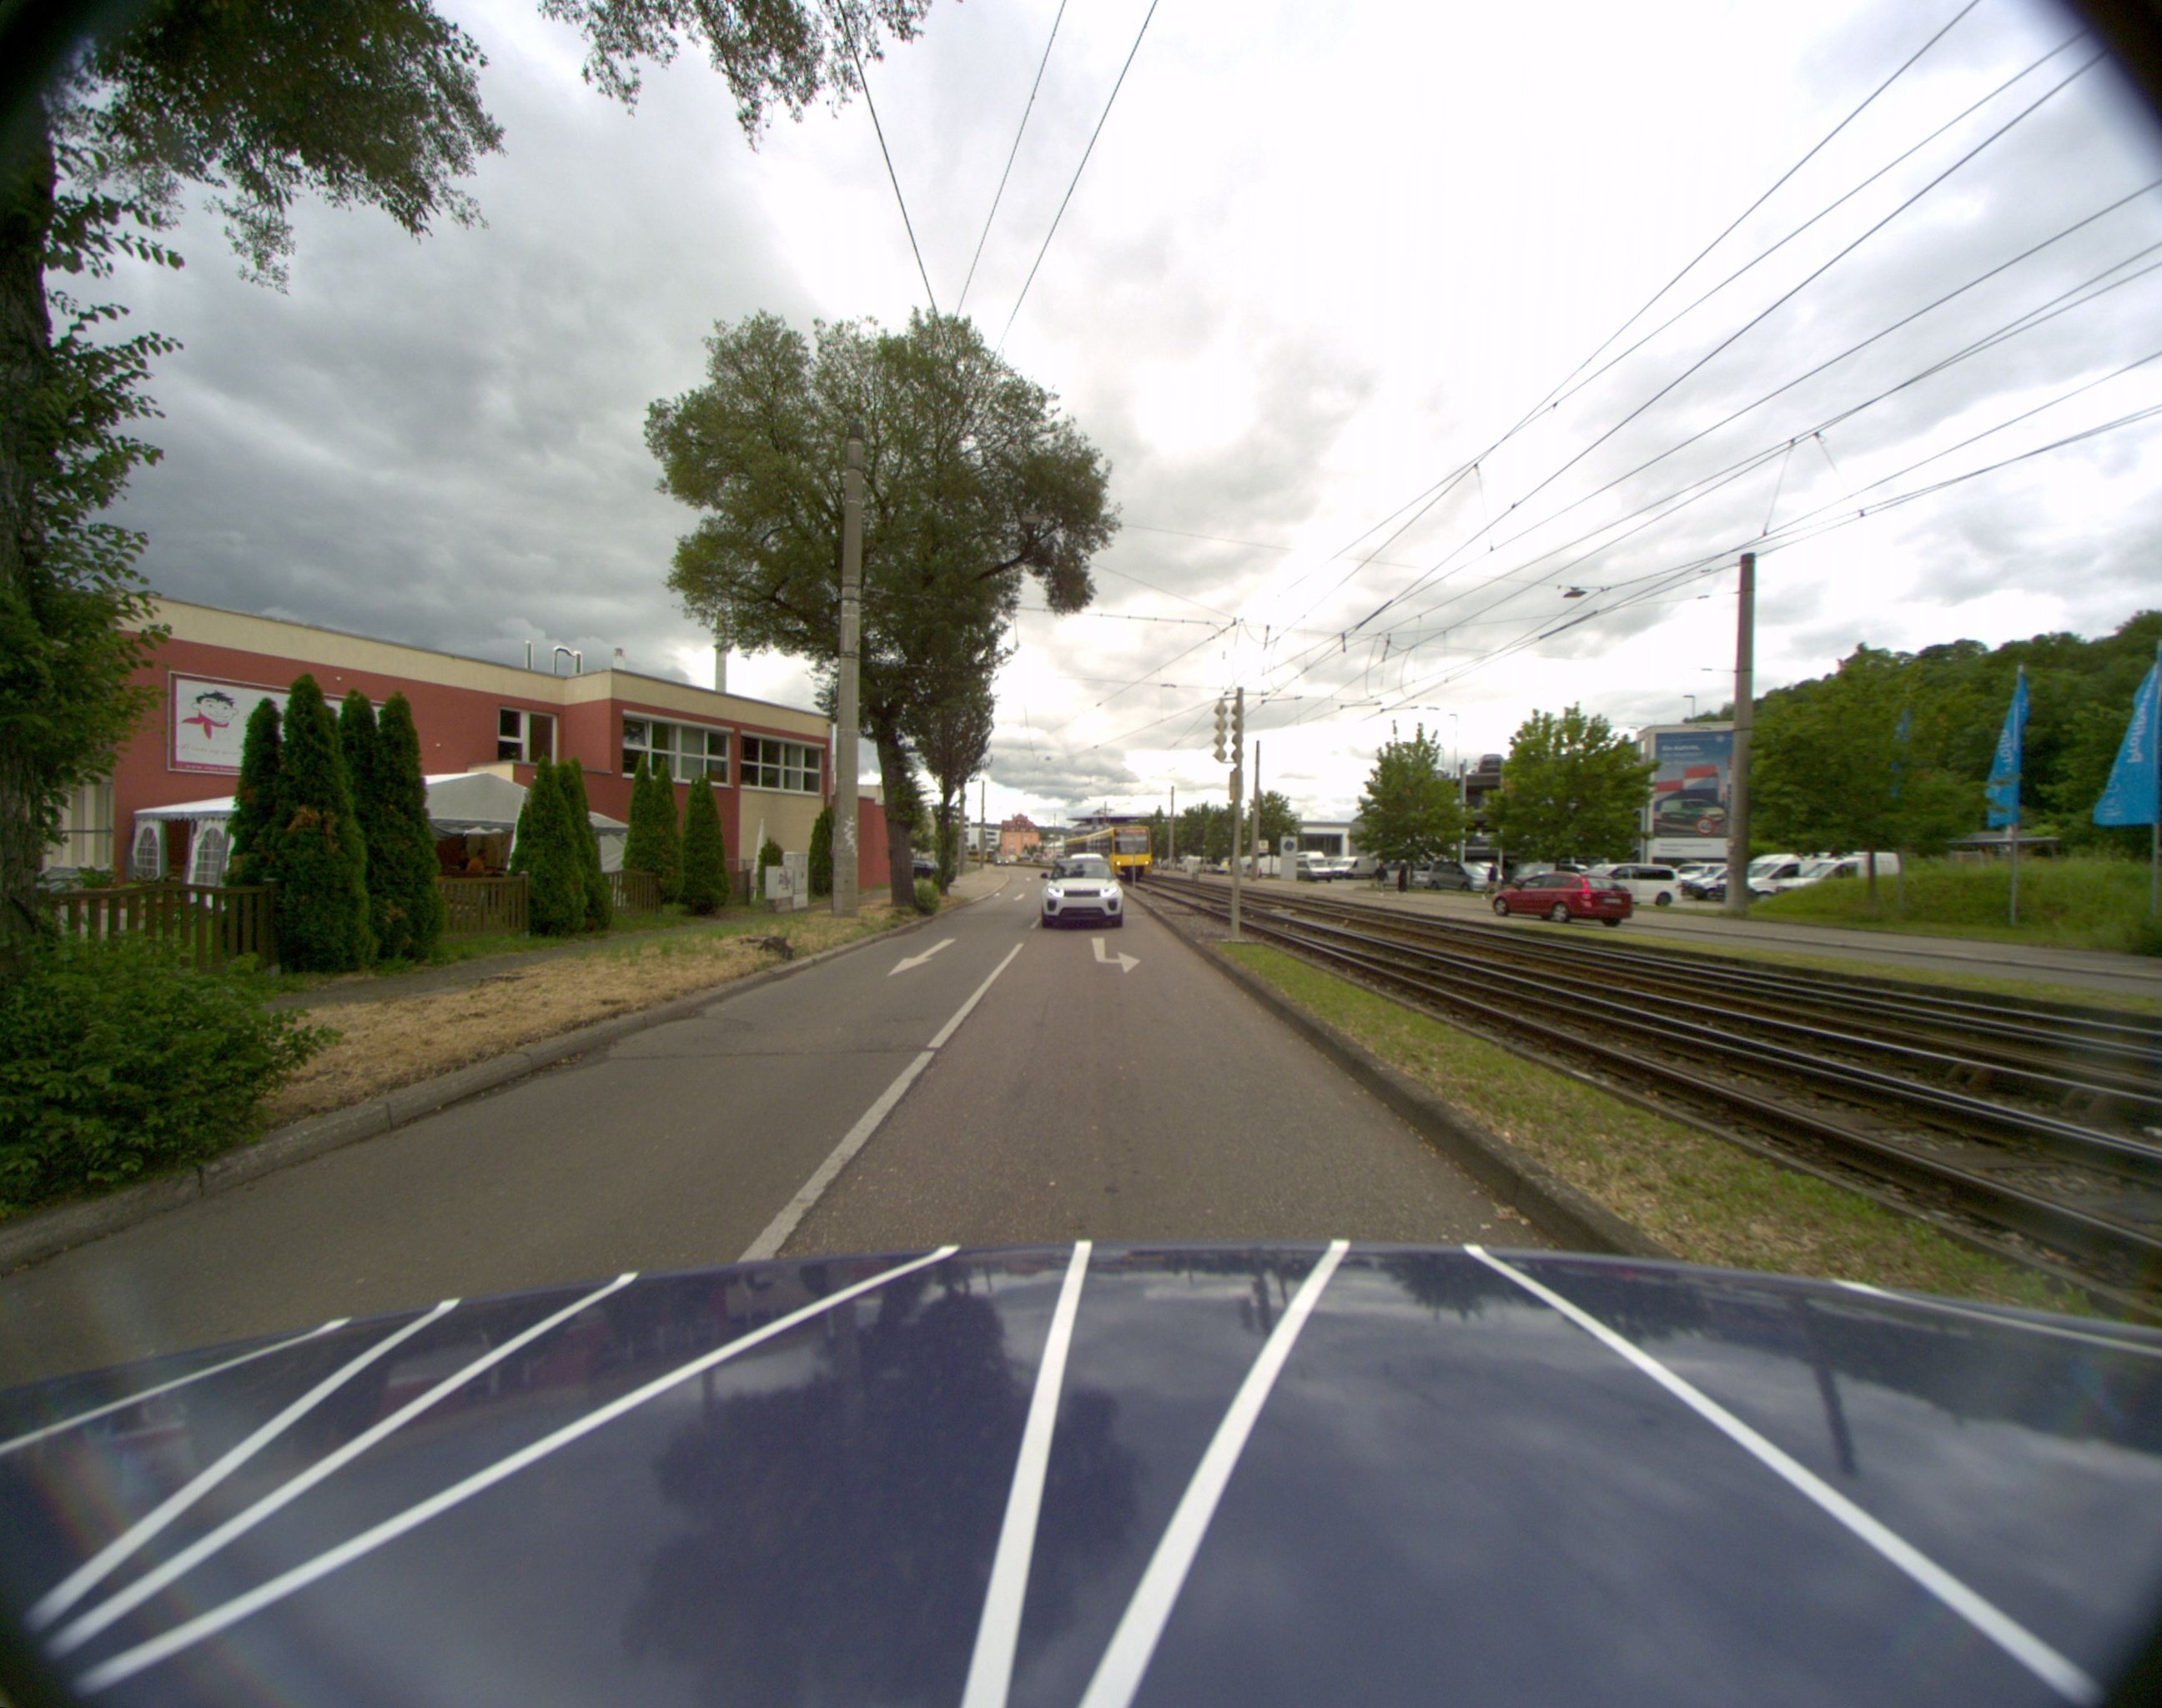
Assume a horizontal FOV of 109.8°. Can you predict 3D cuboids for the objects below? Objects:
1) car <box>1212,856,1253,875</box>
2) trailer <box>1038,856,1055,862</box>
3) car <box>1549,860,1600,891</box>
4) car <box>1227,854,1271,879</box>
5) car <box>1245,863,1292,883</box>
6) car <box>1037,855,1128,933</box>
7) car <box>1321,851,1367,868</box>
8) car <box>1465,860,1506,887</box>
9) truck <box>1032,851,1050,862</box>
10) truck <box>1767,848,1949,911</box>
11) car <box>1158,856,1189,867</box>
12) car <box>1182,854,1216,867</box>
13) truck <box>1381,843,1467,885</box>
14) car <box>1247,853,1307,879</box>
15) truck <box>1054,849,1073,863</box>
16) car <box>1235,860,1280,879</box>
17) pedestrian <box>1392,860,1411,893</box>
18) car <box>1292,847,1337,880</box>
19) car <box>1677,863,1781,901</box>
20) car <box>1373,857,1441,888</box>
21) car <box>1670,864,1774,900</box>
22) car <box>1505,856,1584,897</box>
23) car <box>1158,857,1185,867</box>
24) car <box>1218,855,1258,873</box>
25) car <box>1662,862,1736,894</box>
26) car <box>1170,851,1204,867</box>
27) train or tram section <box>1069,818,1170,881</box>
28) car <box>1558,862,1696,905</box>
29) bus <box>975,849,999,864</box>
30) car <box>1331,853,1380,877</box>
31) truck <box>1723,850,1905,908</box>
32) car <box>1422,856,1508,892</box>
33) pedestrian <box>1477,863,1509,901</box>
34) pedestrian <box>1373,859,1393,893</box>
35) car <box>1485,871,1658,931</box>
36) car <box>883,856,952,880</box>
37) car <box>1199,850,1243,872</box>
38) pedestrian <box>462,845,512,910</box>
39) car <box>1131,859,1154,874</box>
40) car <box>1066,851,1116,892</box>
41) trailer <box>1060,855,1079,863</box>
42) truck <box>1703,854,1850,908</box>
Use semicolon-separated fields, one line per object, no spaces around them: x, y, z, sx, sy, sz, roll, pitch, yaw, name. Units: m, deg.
18.097;1.351;90.745;4.380;2.160;2.002;1;0;-10;car
-8.726;1.321;193.016;3.061;1.270;6.998;3;-1;-13;trailer
33.638;1.433;51.874;1.995;2.001;4.475;1;0;21;car
18.901;1.388;85.556;4.380;2.802;2.002;1;0;-10;car
19.891;2.035;80.823;4.380;2.093;2.002;1;0;-10;car
-0.038;0.887;18.849;1.999;1.718;3.999;0;0;-2;car
31.938;0.670;92.490;4.857;2.002;1.999;1;0;-4;car
28.731;1.341;54.082;1.995;1.820;4.475;1;0;21;car
-10.627;0.641;200.762;3.119;2.904;8.950;3;-1;-14;truck
34.208;1.058;33.693;5.059;2.573;2.473;1;0;25;truck
14.583;1.202;119.847;4.380;1.608;2.003;1;0;-8;car
16.702;0.943;107.870;4.378;1.834;2.003;1;0;-5;car
26.471;0.727;58.824;5.923;3.067;2.123;1;0;24;truck
20.159;1.232;78.152;5.489;2.587;2.245;1;0;-6;car
-4.021;0.401;173.726;2.874;2.963;8.445;3;-1;-12;truck
19.370;1.695;83.312;4.380;2.093;2.002;1;0;-10;car
17.075;1.187;40.504;0.630;1.703;0.855;-1;0;-3;pedestrian
22.329;0.921;73.009;2.114;3.001;5.934;1;0;-4;car
36.374;1.539;42.756;3.993;2.002;2.002;0;0;11;car
22.175;1.197;51.893;2.000;2.002;4.915;1;0;-8;car
38.016;1.643;45.172;4.259;2.002;1.983;1;0;11;car
24.531;1.150;40.121;5.084;2.002;2.160;1;0;-42;car
14.627;1.239;122.452;3.998;1.608;1.999;1;0;-4;car
19.276;1.232;93.534;4.380;2.160;2.002;1;0;-10;car
39.561;1.500;48.647;4.284;2.001;1.996;0;-1;-25;car
15.366;0.688;109.994;4.510;2.298;2.124;1;0;-5;car
2.338;-0.360;56.477;3.400;3.984;16.925;-1;1;-11;train or tram section
25.538;1.364;35.625;5.071;1.877;2.165;1;0;-6;car
-27.070;0.596;219.095;3.566;3.930;10.468;-1;2;-27;bus
30.405;1.226;83.993;5.965;2.587;1.999;1;0;-35;car
35.135;1.146;36.667;5.765;2.573;2.472;1;0;19;truck
22.857;1.151;45.502;2.000;2.002;5.126;1;0;-7;car
18.306;1.215;33.748;0.720;1.646;1.041;-2;0;-13;pedestrian
16.037;1.160;40.410;0.678;1.802;0.855;-1;0;-3;pedestrian
14.715;1.358;23.162;2.000;1.506;4.497;1;0;-6;car
-10.959;0.932;50.923;4.223;1.434;1.766;2;0;22;car
17.731;0.898;96.122;4.983;2.683;2.113;1;0;-10;car
-13.937;0.540;17.838;0.703;1.481;0.771;1;1;37;pedestrian
7.073;1.463;87.409;1.896;1.523;4.254;4;0;-4;car
0.432;0.843;38.201;2.000;1.881;4.624;1;0;-6;car
-2.525;1.094;166.059;2.768;1.486;7.217;3;-1;-12;trailer
36.220;1.350;39.789;5.061;2.573;2.472;1;0;19;truck
